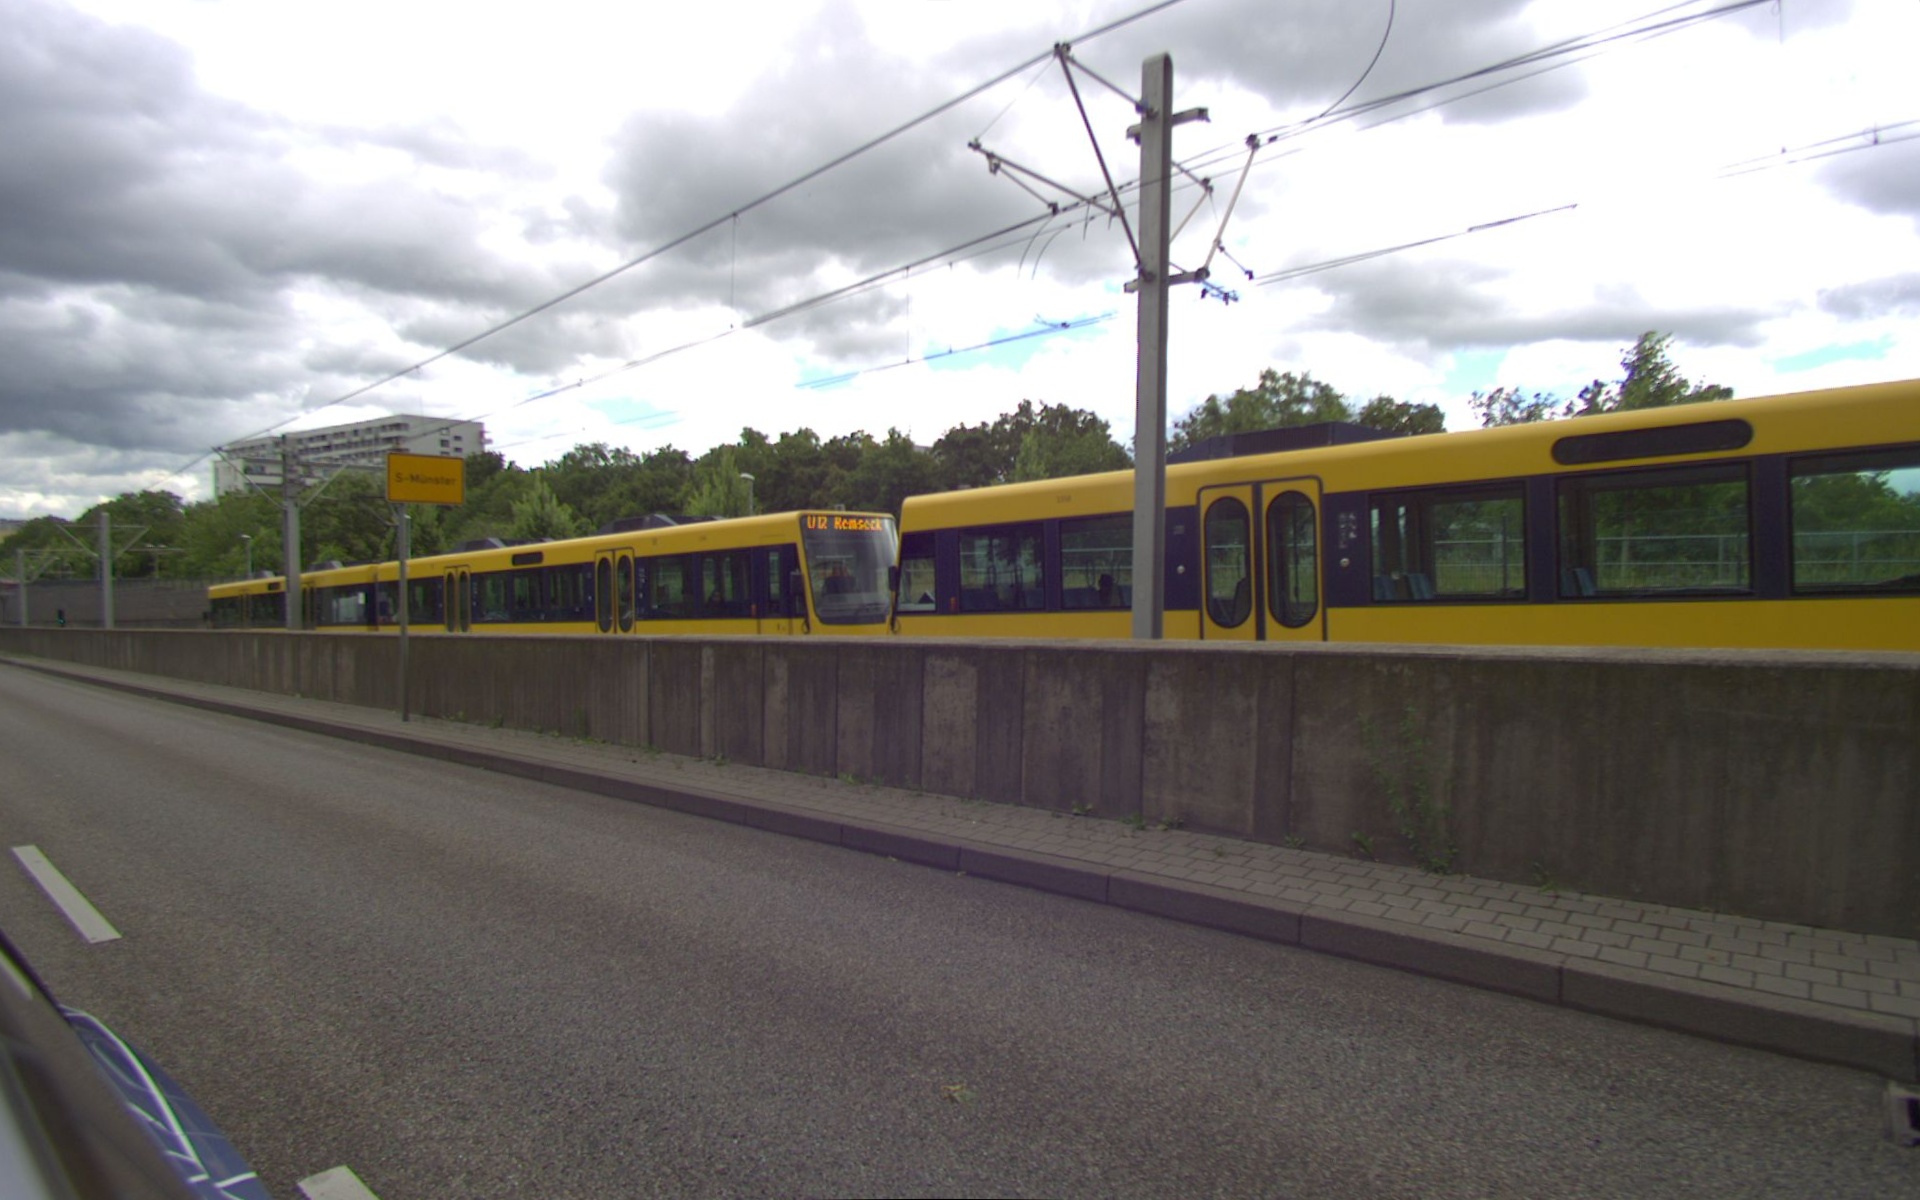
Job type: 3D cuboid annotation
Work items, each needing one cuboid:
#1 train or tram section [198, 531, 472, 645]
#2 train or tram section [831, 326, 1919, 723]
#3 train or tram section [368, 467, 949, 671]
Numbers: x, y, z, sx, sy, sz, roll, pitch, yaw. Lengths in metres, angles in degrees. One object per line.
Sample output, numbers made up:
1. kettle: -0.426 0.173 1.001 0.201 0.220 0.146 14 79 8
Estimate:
1. train or tram section: -22.479 -0.253 35.258 18.907 3.140 2.782 -1 0 41
2. train or tram section: 6.404 -0.561 10.336 19.286 3.048 2.773 -1 0 39
3. train or tram section: -8.287 -0.401 22.757 19.092 3.100 2.775 -1 0 41
